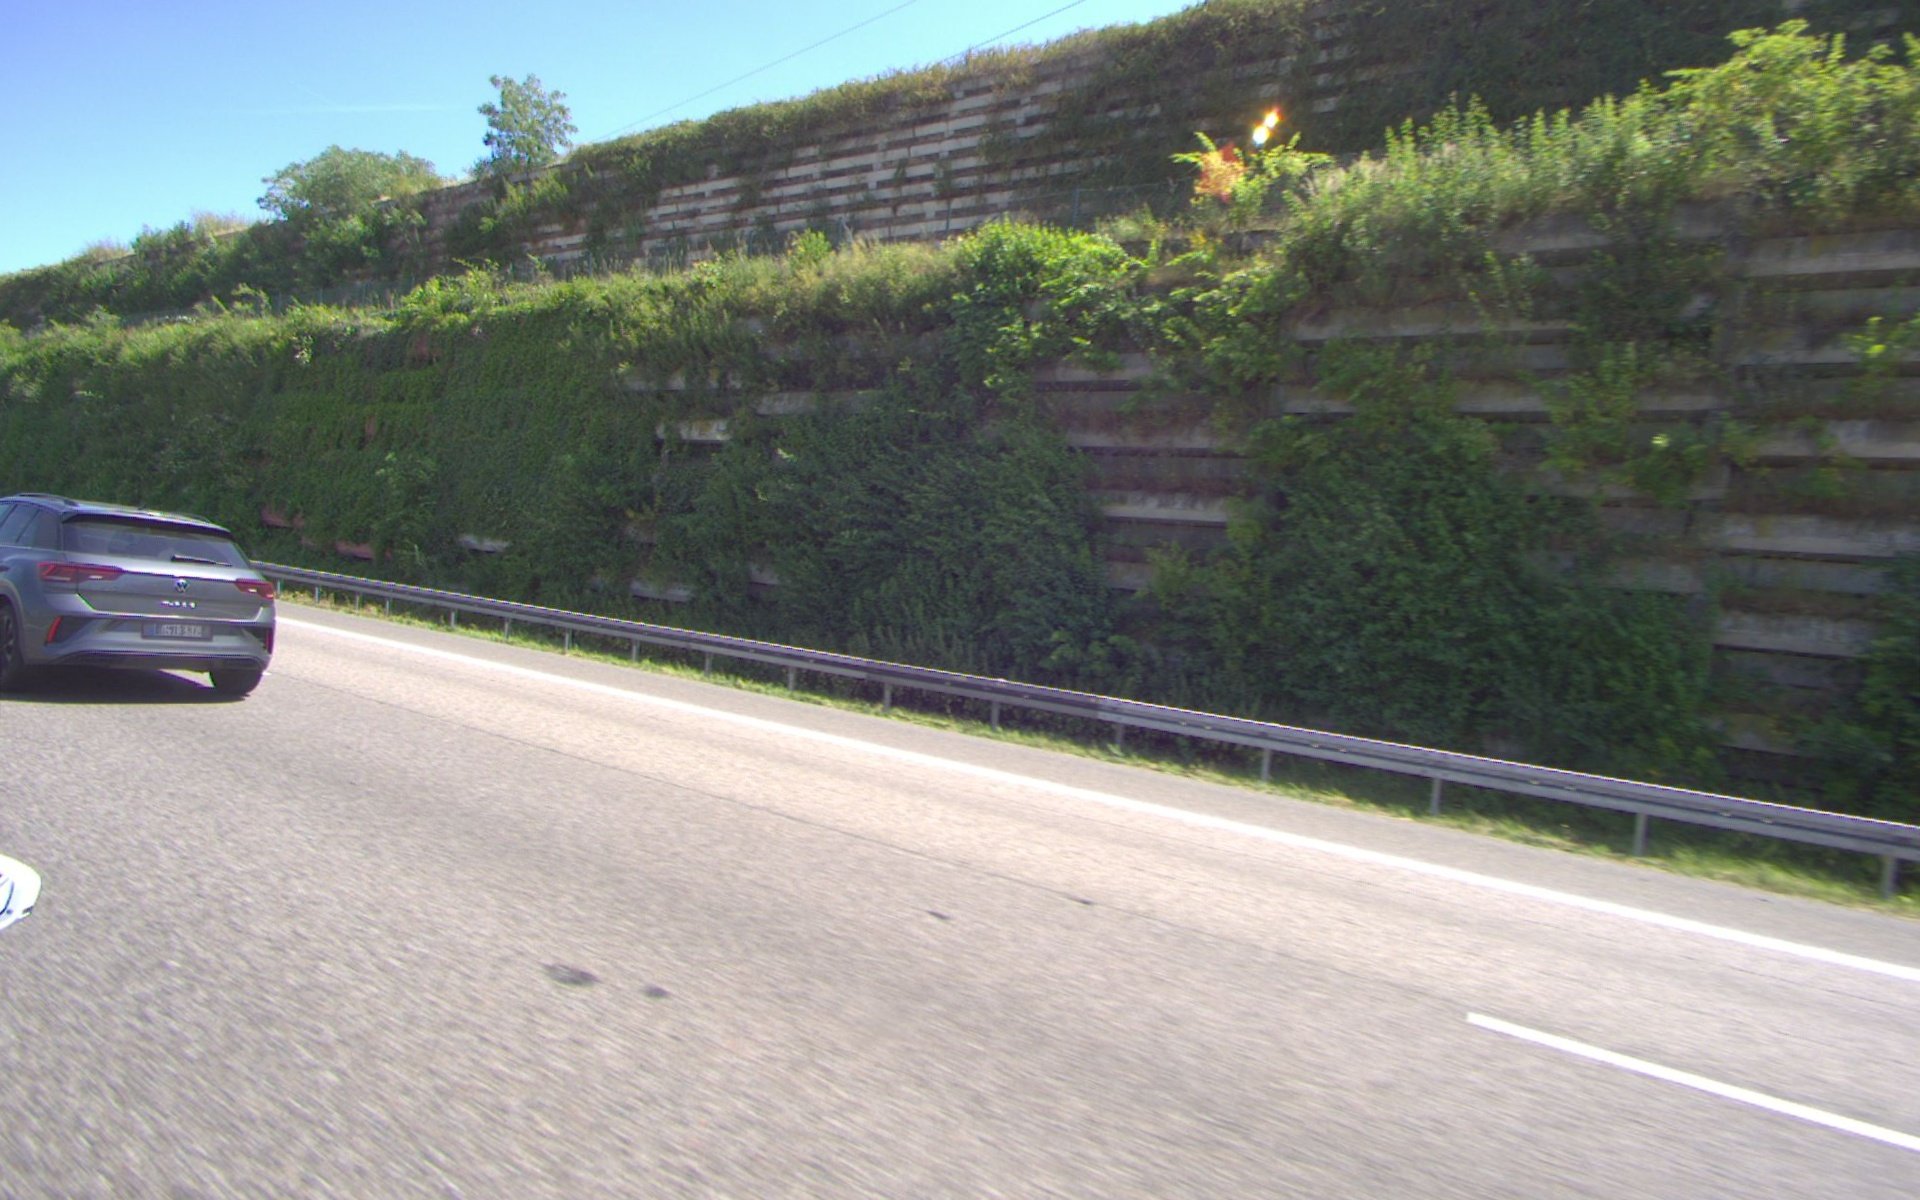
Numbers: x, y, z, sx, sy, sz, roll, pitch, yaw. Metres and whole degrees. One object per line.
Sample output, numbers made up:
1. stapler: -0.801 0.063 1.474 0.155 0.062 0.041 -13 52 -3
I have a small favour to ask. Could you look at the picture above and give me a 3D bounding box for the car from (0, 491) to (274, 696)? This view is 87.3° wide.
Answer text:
1. car: -8.394 -0.158 9.375 3.929 1.543 1.752 6 -1 31
